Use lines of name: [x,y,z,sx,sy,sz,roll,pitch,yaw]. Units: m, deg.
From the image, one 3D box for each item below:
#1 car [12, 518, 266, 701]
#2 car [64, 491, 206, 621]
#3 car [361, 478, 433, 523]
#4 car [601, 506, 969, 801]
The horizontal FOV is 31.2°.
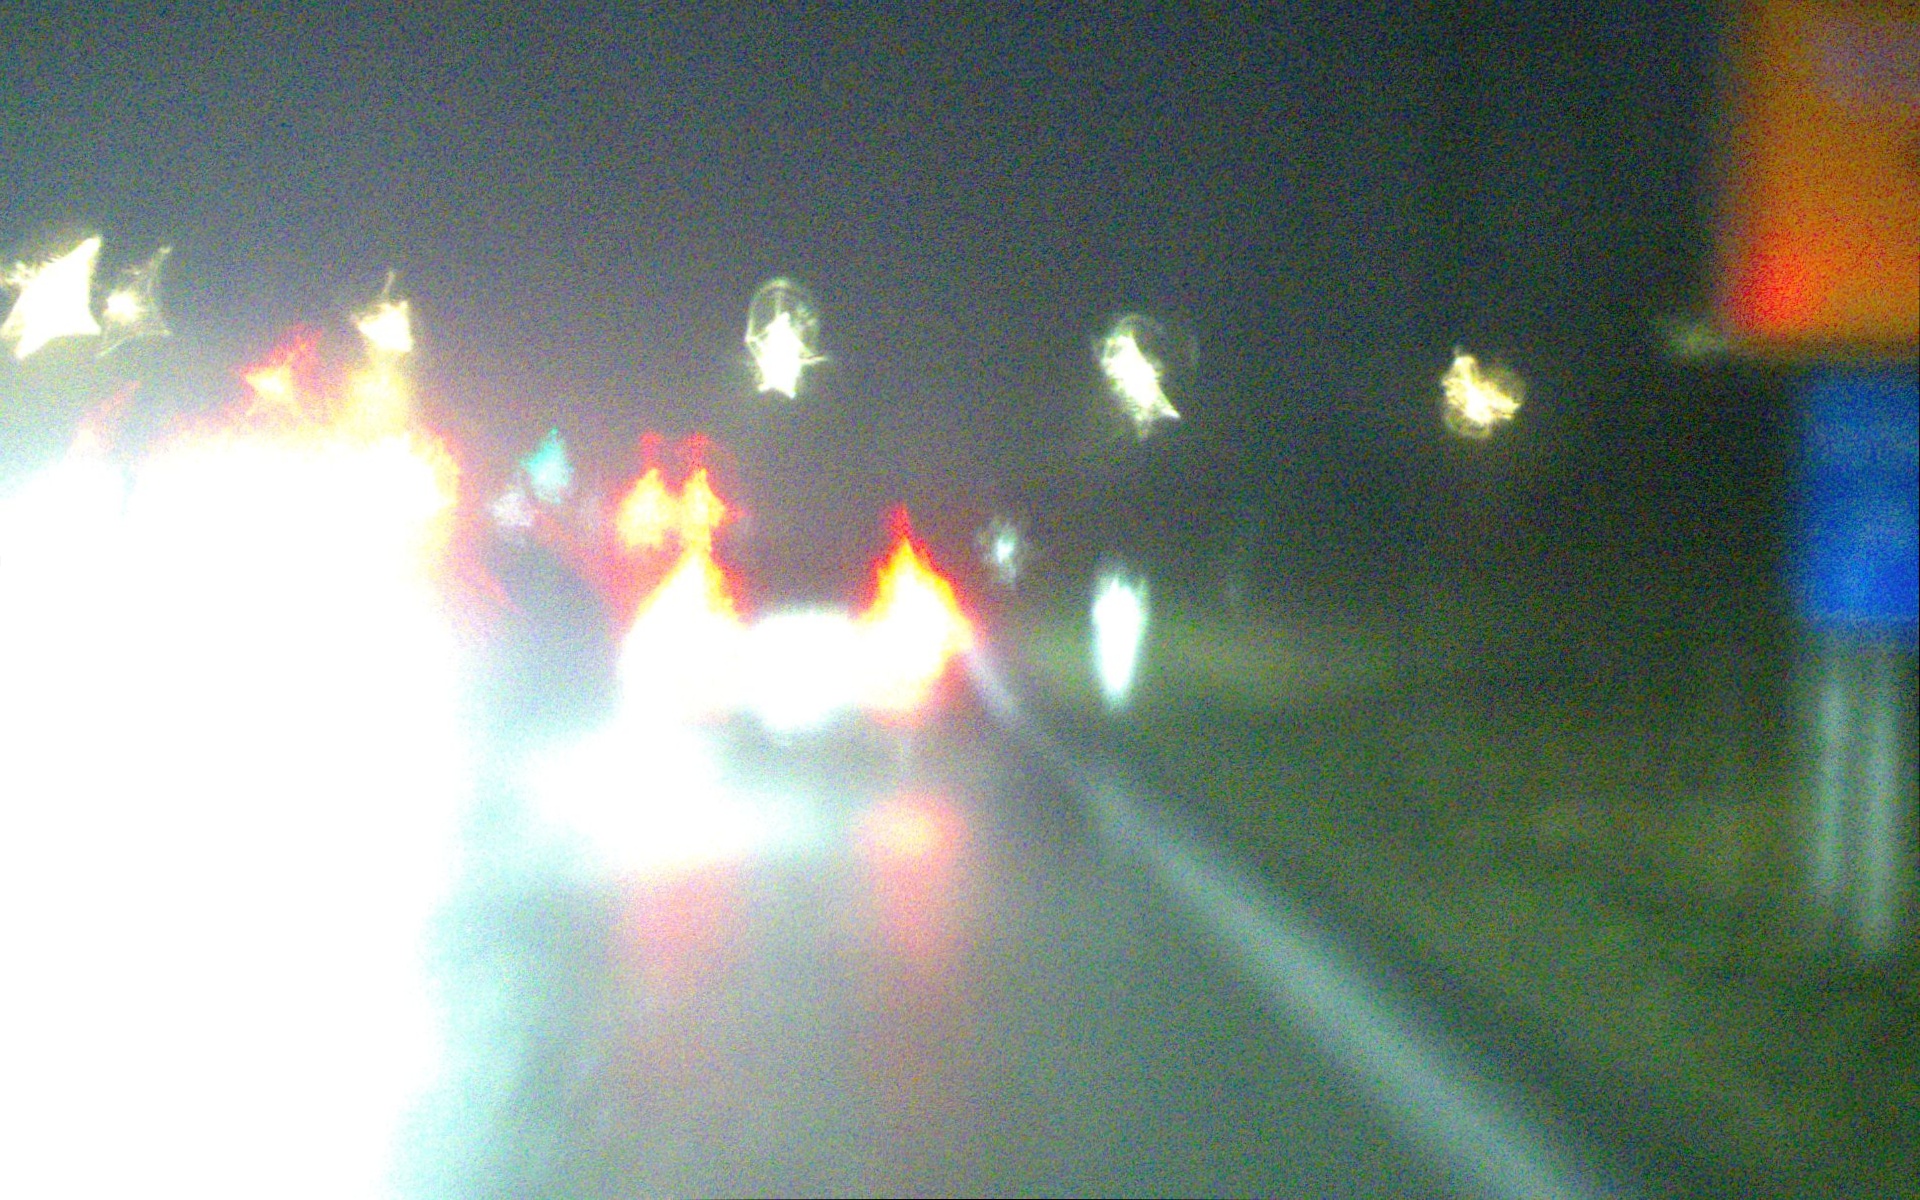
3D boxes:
car: [-6.690,0.047,28.340,1.771,1.384,4.037,1,1,-10]
car: [-11.829,-0.632,49.170,1.859,1.741,4.964,1,1,-14]
car: [-22.276,-3.941,135.933,1.993,1.622,4.986,-2,3,-19]
car: [-0.977,0.265,21.781,1.993,1.622,4.984,1,1,1]
